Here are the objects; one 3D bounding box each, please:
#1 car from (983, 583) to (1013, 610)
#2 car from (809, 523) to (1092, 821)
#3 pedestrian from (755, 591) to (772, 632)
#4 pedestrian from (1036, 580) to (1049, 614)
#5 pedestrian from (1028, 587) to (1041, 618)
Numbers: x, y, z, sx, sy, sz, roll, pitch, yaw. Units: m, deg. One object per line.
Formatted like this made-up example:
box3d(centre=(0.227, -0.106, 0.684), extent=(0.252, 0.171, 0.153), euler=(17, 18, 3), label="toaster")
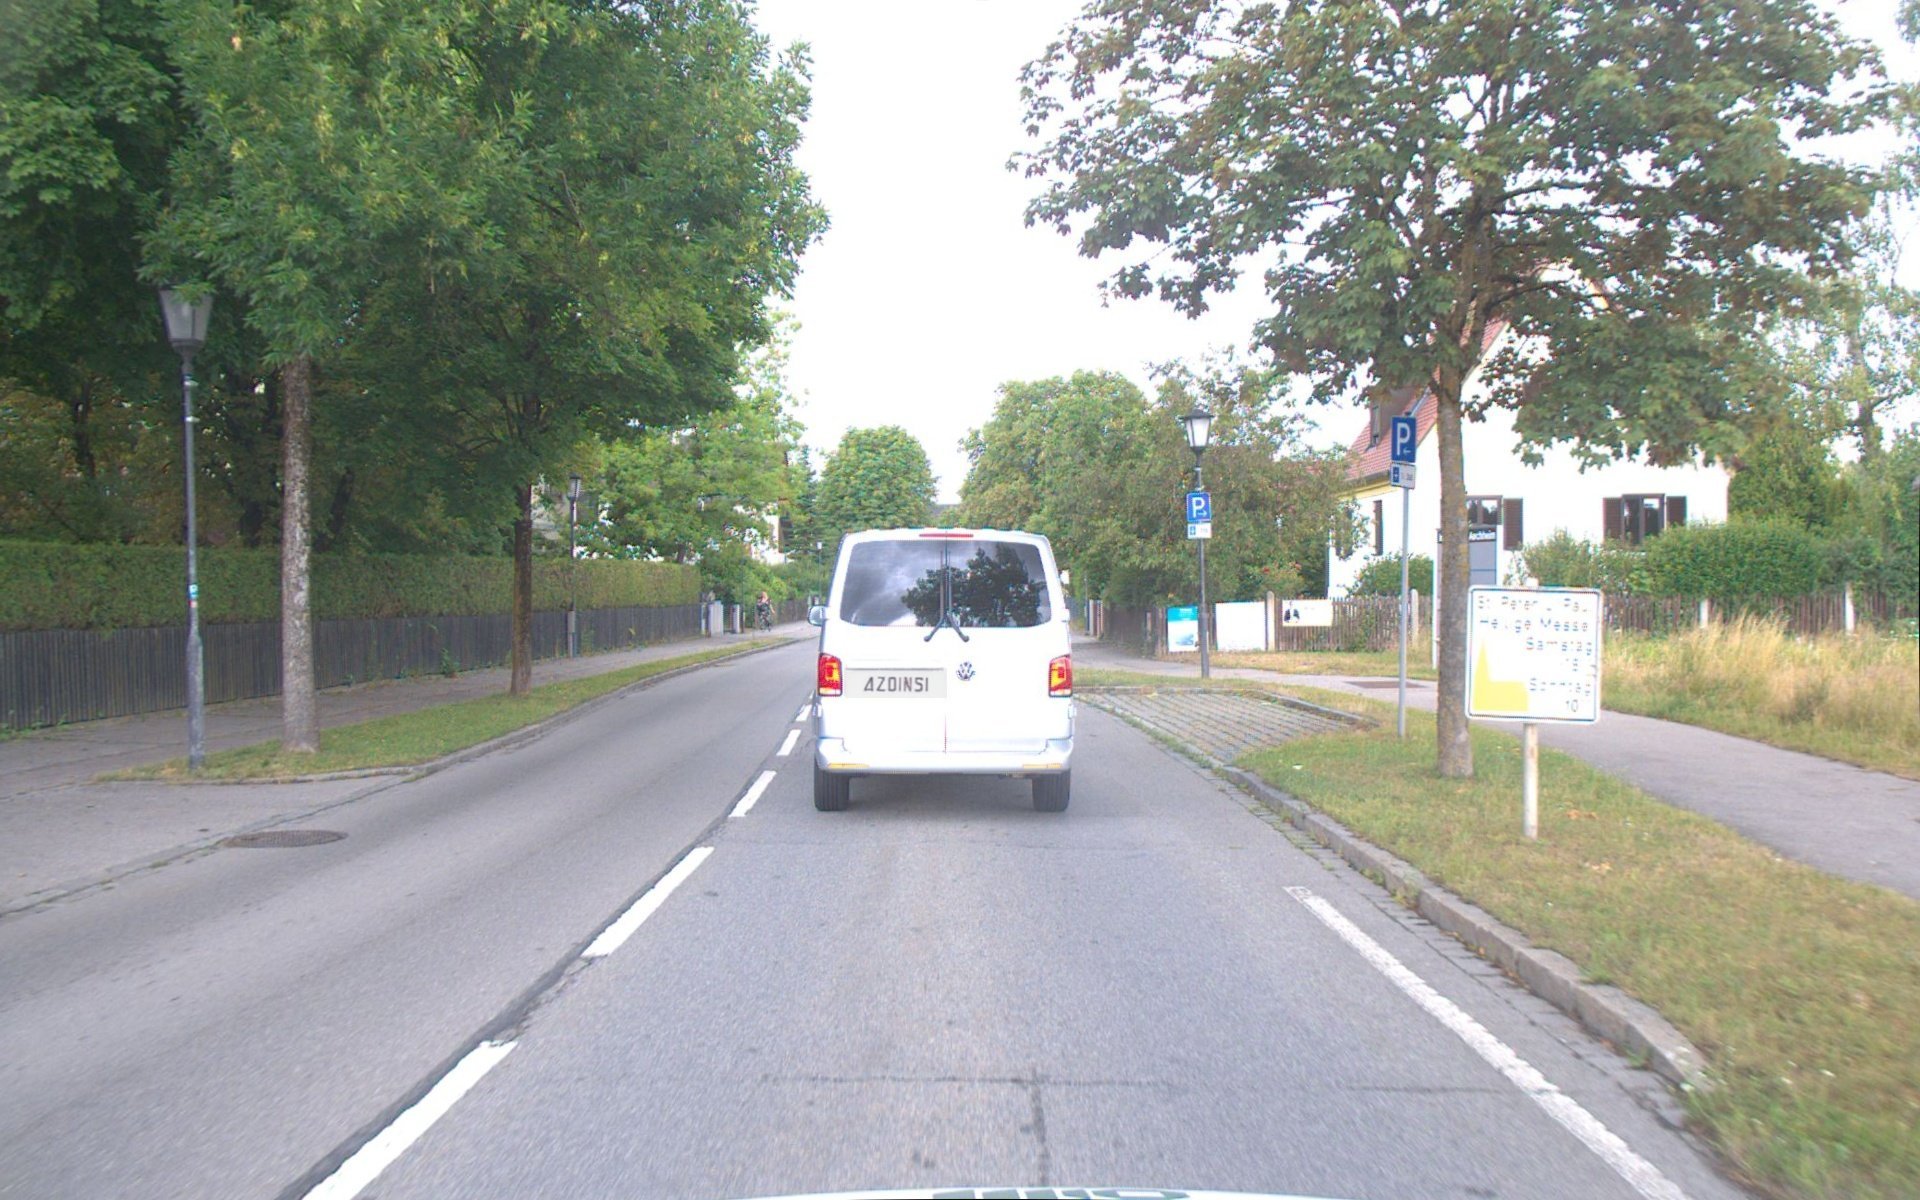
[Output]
box3d(centre=(2.986, -0.274, 128.807), extent=(1.951, 2.049, 4.003), euler=(-1, 0, 7), label="car")
box3d(centre=(-0.058, 0.470, 12.837), extent=(1.849, 1.945, 4.000), euler=(0, 0, 0), label="car")
box3d(centre=(-7.718, 0.456, 64.872), extent=(0.610, 1.576, 0.522), euler=(1, 0, -3), label="pedestrian")
box3d(centre=(3.850, -0.130, 77.419), extent=(0.540, 1.576, 0.611), euler=(1, 0, -3), label="pedestrian")
box3d(centre=(3.763, 0.112, 83.655), extent=(0.610, 1.550, 0.579), euler=(1, 0, -3), label="pedestrian")
